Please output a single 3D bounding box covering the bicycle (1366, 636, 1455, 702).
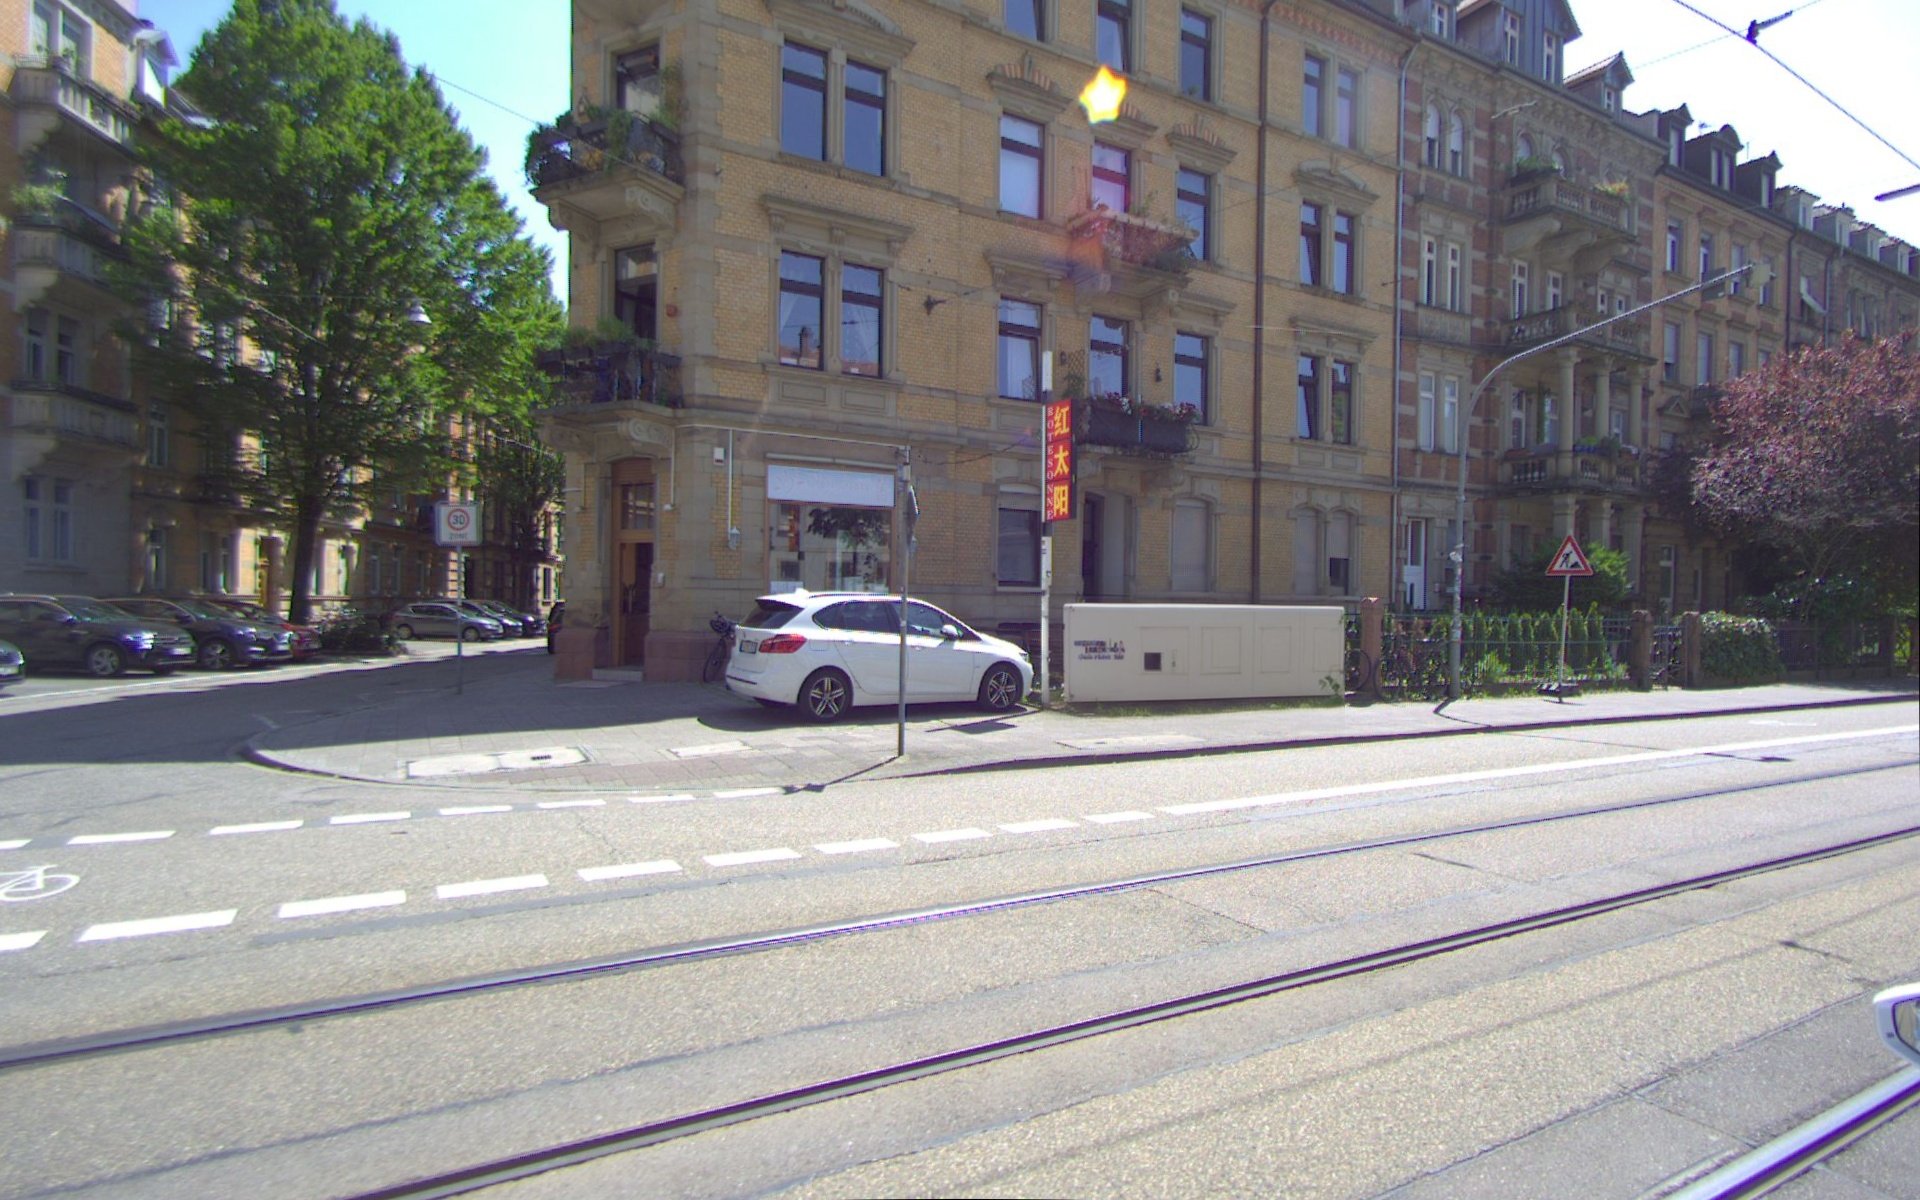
[{"bbox_3d":[7.438,1.112,16.555,1.787,1.017,0.451,1,0,-34],"label":"bicycle"}]

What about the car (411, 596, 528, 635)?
[{"bbox_3d":[-20.349,0.648,41.842,3.927,1.578,1.997,1,-1,-8],"label":"car"}]

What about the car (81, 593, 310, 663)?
[{"bbox_3d":[-17.070,0.632,22.600,3.704,1.356,1.628,3,-1,-9],"label":"car"}]

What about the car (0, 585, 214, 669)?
[{"bbox_3d":[-17.396,0.525,19.965,3.704,1.461,1.628,3,-1,-9],"label":"car"}]

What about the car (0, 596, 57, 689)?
[{"bbox_3d":[-16.764,0.534,14.901,4.738,1.383,1.743,3,-1,-9],"label":"car"}]

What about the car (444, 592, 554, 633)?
[{"bbox_3d":[-20.398,0.549,44.612,3.927,1.578,1.997,3,-1,-8],"label":"car"}]

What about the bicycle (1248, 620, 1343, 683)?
[{"bbox_3d":[5.792,0.866,17.430,0.467,1.017,1.775,1,0,-25],"label":"bicycle"}]

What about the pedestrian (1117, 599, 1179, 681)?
[{"bbox_3d":[3.087,0.651,16.525,0.704,1.315,0.705,0,-2,-34],"label":"pedestrian"}]

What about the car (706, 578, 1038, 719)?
[{"bbox_3d":[-1.118,0.582,13.512,4.060,1.621,1.853,1,1,-35],"label":"car"}]

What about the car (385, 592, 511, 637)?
[{"bbox_3d":[-20.168,0.578,39.750,3.927,1.578,1.997,3,-1,-8],"label":"car"}]

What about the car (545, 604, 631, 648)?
[{"bbox_3d":[-11.699,0.802,31.824,1.734,1.282,3.994,1,-1,-8],"label":"car"}]

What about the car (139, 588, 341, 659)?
[{"bbox_3d":[-17.996,0.589,25.252,3.704,1.561,1.628,3,-1,-9],"label":"car"}]

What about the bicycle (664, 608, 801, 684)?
[{"bbox_3d":[-3.751,0.744,16.599,2.116,1.203,0.636,1,0,-27],"label":"bicycle"}]
